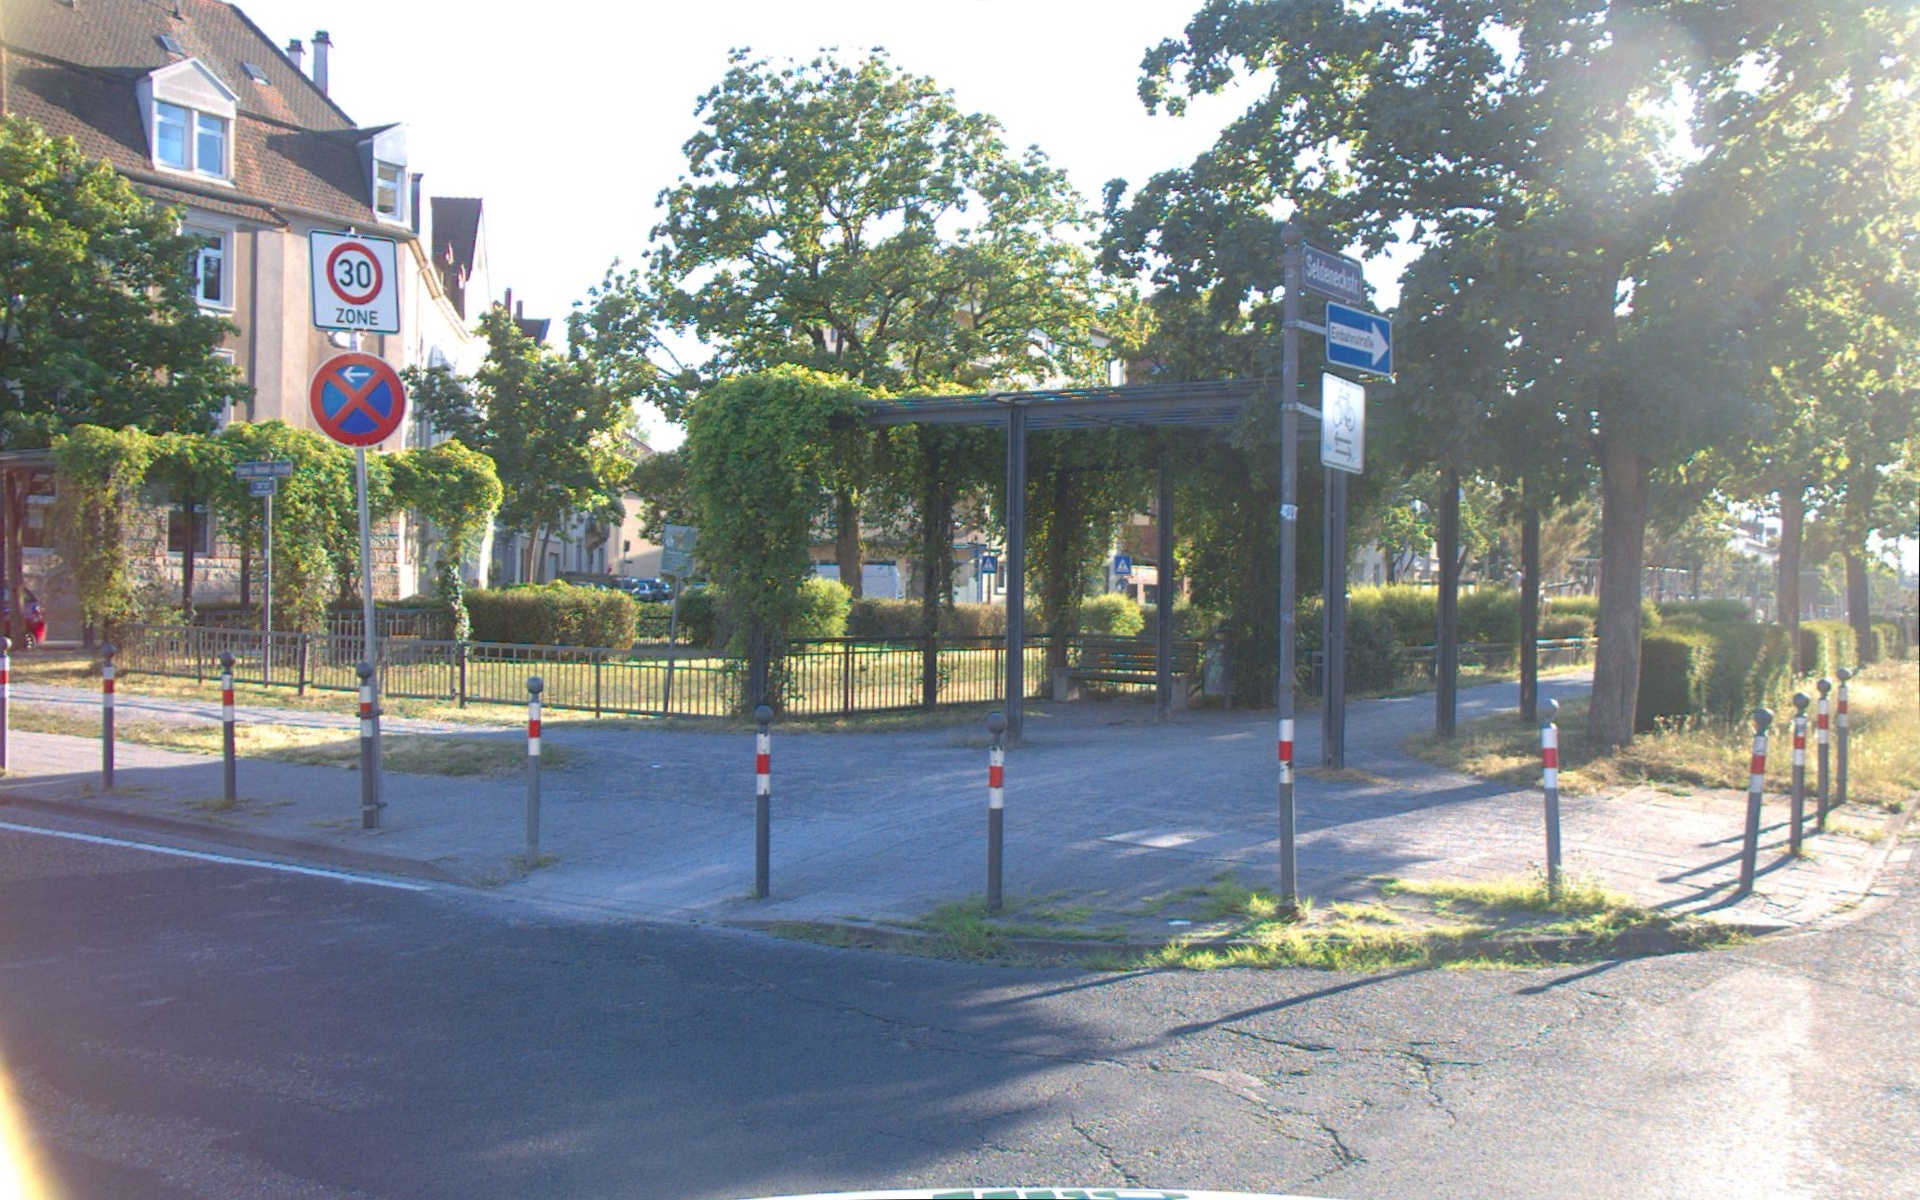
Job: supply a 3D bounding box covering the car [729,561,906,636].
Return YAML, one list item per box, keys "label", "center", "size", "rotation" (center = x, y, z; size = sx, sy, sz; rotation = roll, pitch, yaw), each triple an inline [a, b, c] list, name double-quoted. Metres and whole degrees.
- label: "car"
  center: [-5.512, -0.063, 64.514]
  size: [6.527, 2.793, 2.319]
  rotation: [1, 0, 4]

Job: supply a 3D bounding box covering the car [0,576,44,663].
- label: "car"
  center: [-21.577, 0.382, 34.369]
  size: [1.775, 1.771, 4.074]
  rotation: [3, 1, 34]

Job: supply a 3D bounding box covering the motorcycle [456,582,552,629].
- label: "motorcycle"
  center: [-15.061, 0.184, 54.594]
  size: [3.154, 1.513, 0.853]
  rotation: [0, -1, 22]
